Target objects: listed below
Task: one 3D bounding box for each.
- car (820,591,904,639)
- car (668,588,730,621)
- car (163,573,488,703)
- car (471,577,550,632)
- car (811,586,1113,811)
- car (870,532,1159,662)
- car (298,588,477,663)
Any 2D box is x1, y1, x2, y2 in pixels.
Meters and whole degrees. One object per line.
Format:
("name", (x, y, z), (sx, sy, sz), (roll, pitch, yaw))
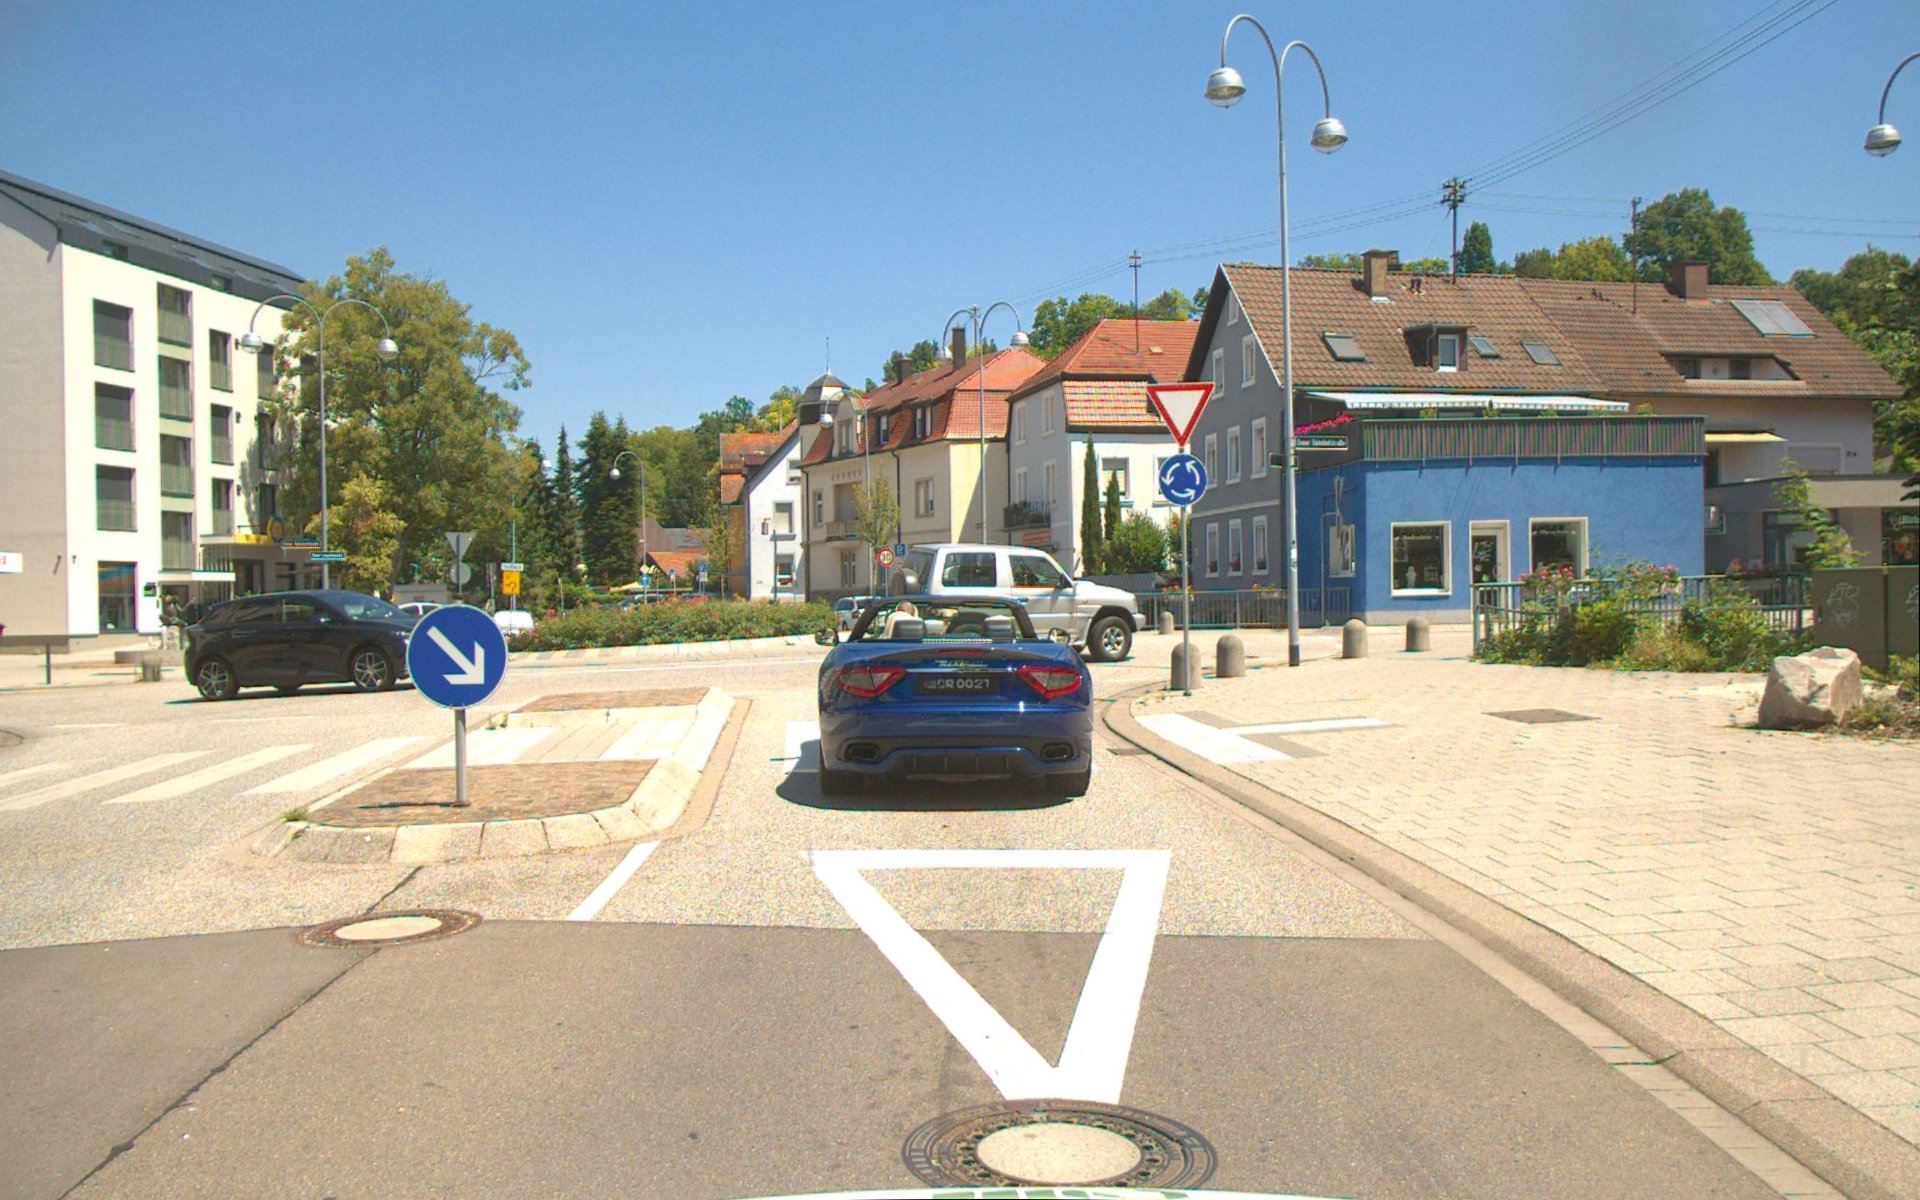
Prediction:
("car", (-3.640, 0.575, 60.849), (1.891, 1.641, 4.120), (-2, -1, -21))
("car", (-13.840, 0.255, 87.595), (1.832, 1.616, 3.956), (-3, 0, -32))
("car", (-9.439, 0.556, 24.711), (4.159, 1.573, 1.813), (-4, 2, 15))
("car", (-14.621, 0.142, 53.973), (1.958, 1.535, 3.991), (-5, 1, -10))
("car", (-0.009, 0.604, 12.444), (1.871, 1.384, 4.285), (0, 0, -1))
("car", (0.844, -0.069, 25.790), (4.155, 1.907, 1.753), (0, 2, -21))
("car", (-12.745, 0.552, 36.952), (1.551, 1.475, 3.452), (-2, 0, 40))
